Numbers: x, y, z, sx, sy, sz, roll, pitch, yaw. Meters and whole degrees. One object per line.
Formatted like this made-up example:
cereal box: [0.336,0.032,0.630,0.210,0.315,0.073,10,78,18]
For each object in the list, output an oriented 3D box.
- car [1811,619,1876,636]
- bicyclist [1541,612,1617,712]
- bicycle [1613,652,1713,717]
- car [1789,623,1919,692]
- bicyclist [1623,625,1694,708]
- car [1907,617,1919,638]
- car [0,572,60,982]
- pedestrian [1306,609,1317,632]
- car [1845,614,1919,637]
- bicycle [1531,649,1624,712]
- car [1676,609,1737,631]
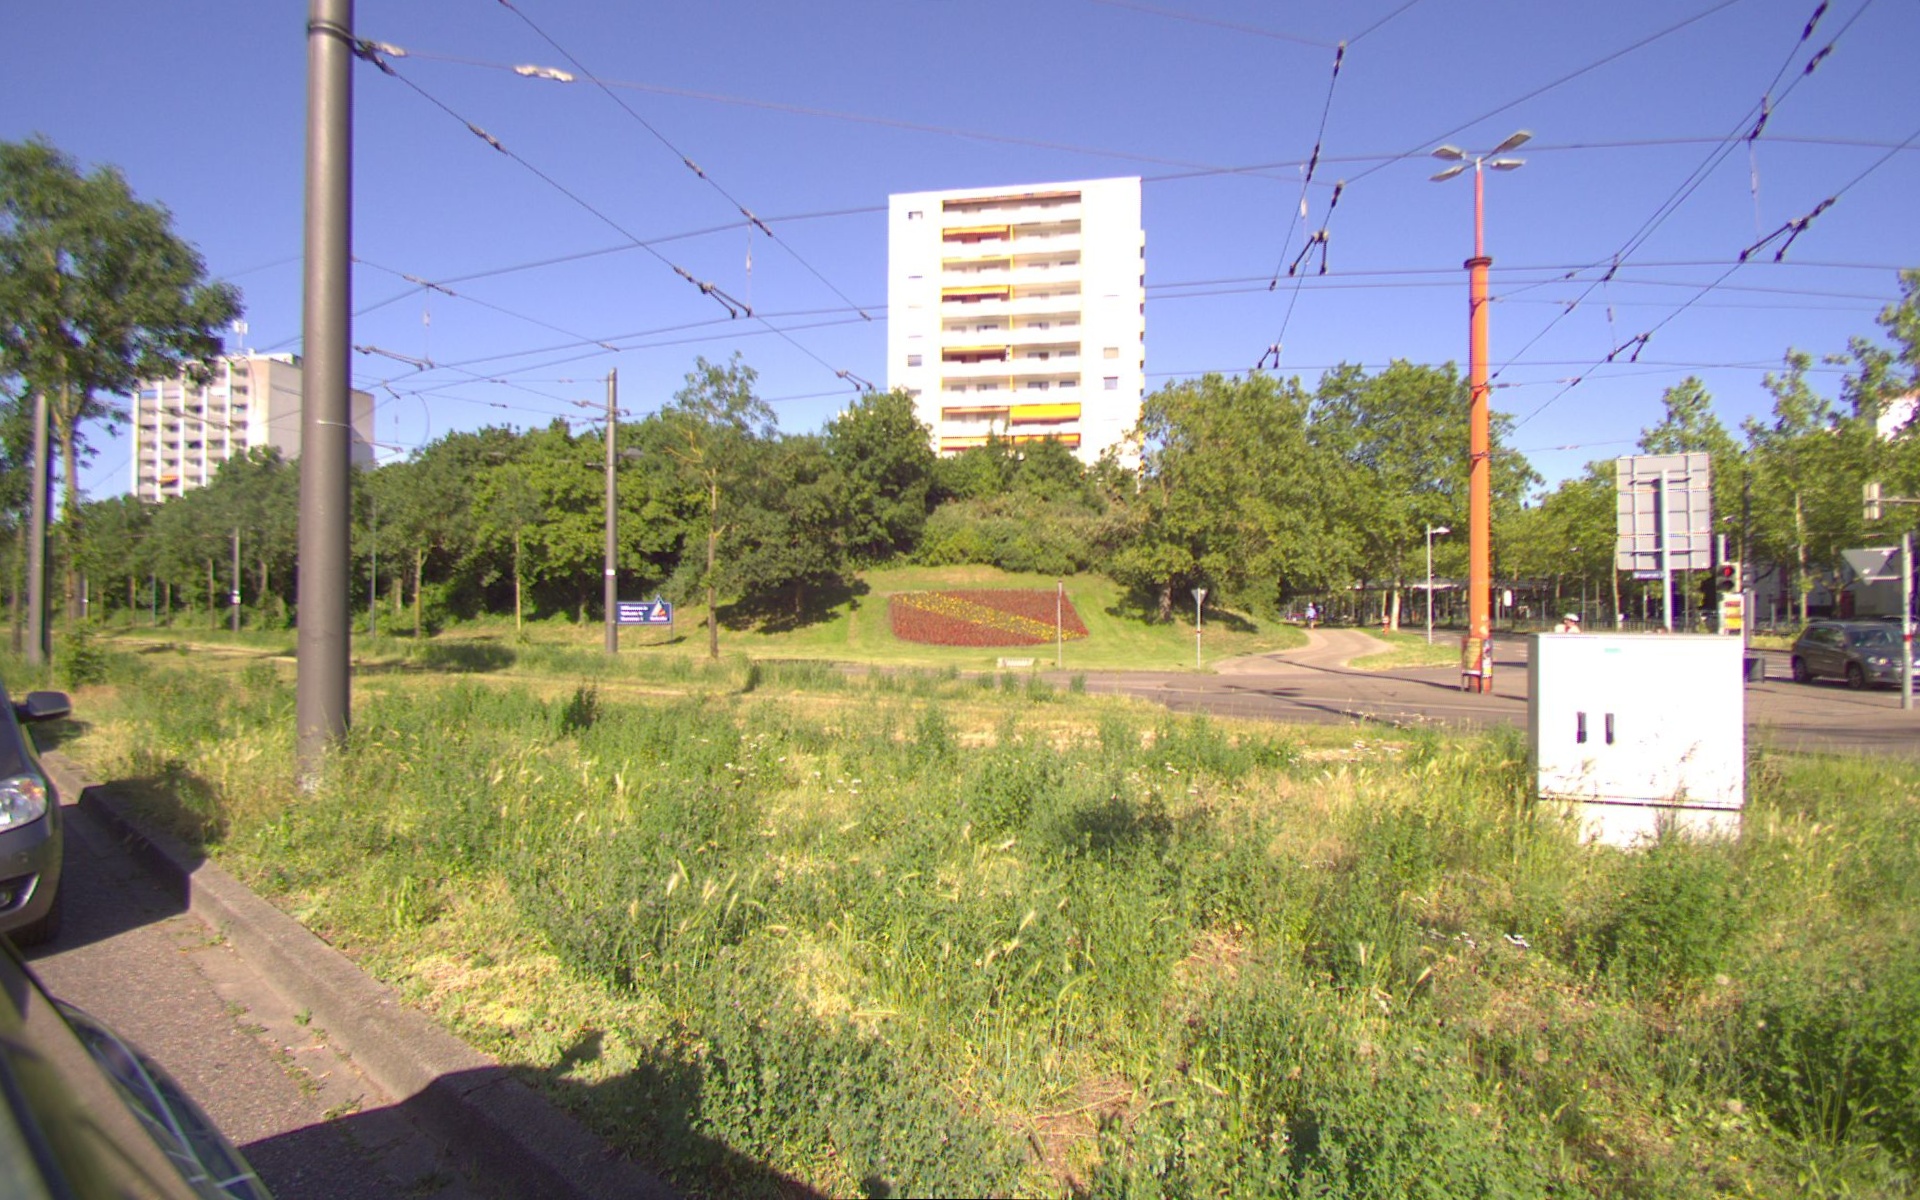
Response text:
car: [64.420,1.992,73.829,1.425,1.197,3.423,-1,0,-41]
bicyclist: [12.125,1.193,19.860,0.880,1.881,0.924,-1,0,-2]
bicycle: [13.513,1.597,19.525,0.571,1.079,1.916,-1,0,0]
car: [23.049,1.376,25.393,1.900,1.507,4.026,-1,0,15]
bicyclist: [13.501,1.267,19.574,0.710,1.536,0.924,-1,0,0]
car: [63.700,1.780,65.146,1.472,1.341,3.746,-1,0,-27]
car: [-5.816,0.752,4.879,3.998,1.652,1.726,-1,0,41]
pedestrian: [24.306,1.435,69.984,0.682,1.568,0.984,-1,0,22]
car: [63.815,1.747,69.978,1.589,1.471,3.656,-1,0,-38]
bicycle: [12.078,1.549,19.877,0.571,1.079,1.917,-1,0,-2]
car: [72.159,1.943,97.854,1.909,1.999,4.350,1,-2,-38]
